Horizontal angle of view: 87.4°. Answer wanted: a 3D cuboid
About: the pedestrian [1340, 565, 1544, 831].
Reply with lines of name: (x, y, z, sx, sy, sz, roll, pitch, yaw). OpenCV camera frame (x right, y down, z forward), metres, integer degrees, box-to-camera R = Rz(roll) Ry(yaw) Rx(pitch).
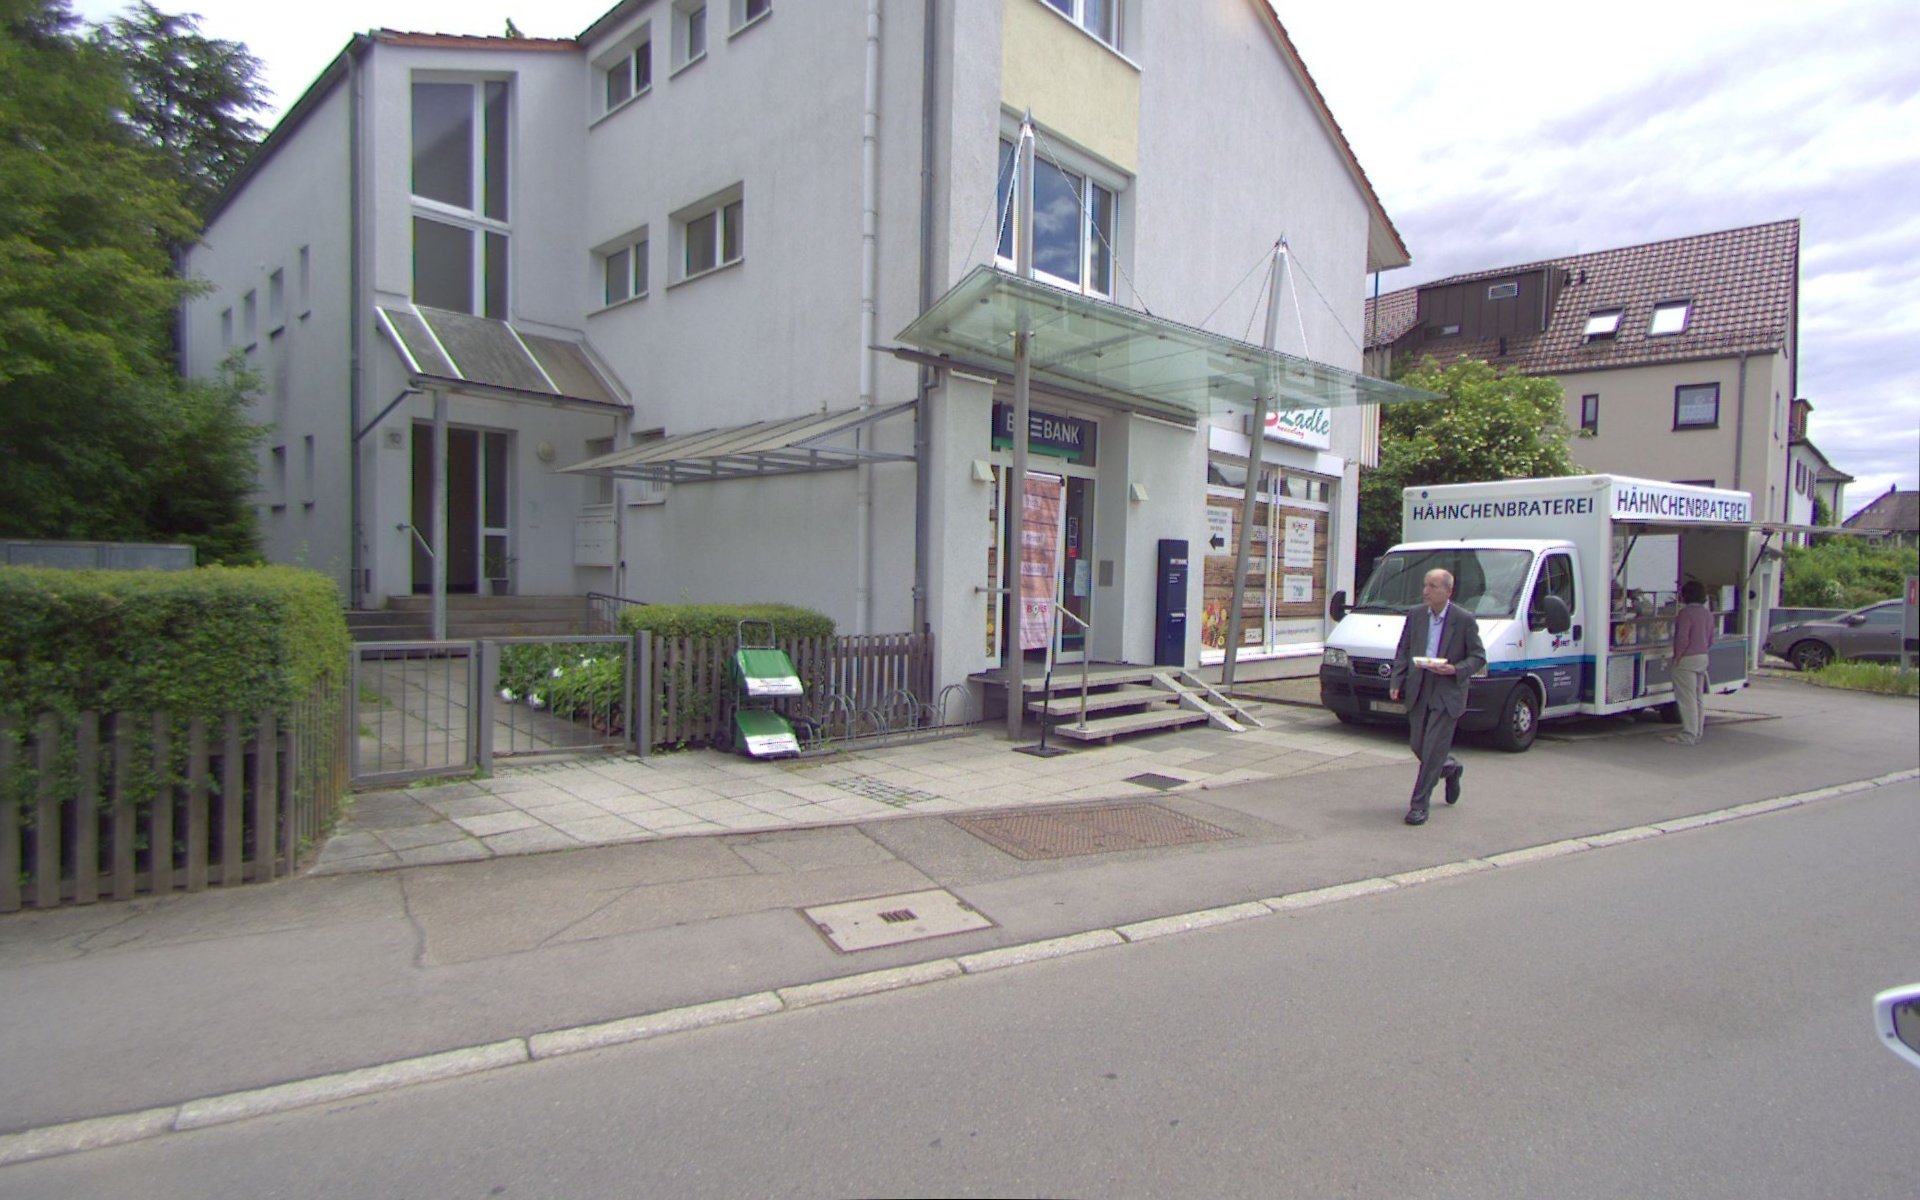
pedestrian: (3.397, 0.634, 7.097, 1.096, 1.709, 0.719, 0, 4, -30)

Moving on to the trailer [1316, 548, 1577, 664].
trailer: (10.397, 0.003, 21.884, 1.687, 2.109, 4.827, -1, 5, -36)

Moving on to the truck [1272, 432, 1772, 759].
truck: (6.815, -0.039, 11.777, 6.642, 2.879, 2.456, 1, 2, -36)

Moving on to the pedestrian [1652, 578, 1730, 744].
pedestrian: (7.845, 0.642, 10.788, 0.591, 1.718, 0.398, 1, 4, -36)

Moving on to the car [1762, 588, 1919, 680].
car: (20.016, 0.742, 21.437, 1.786, 1.718, 4.268, 0, 4, -44)
